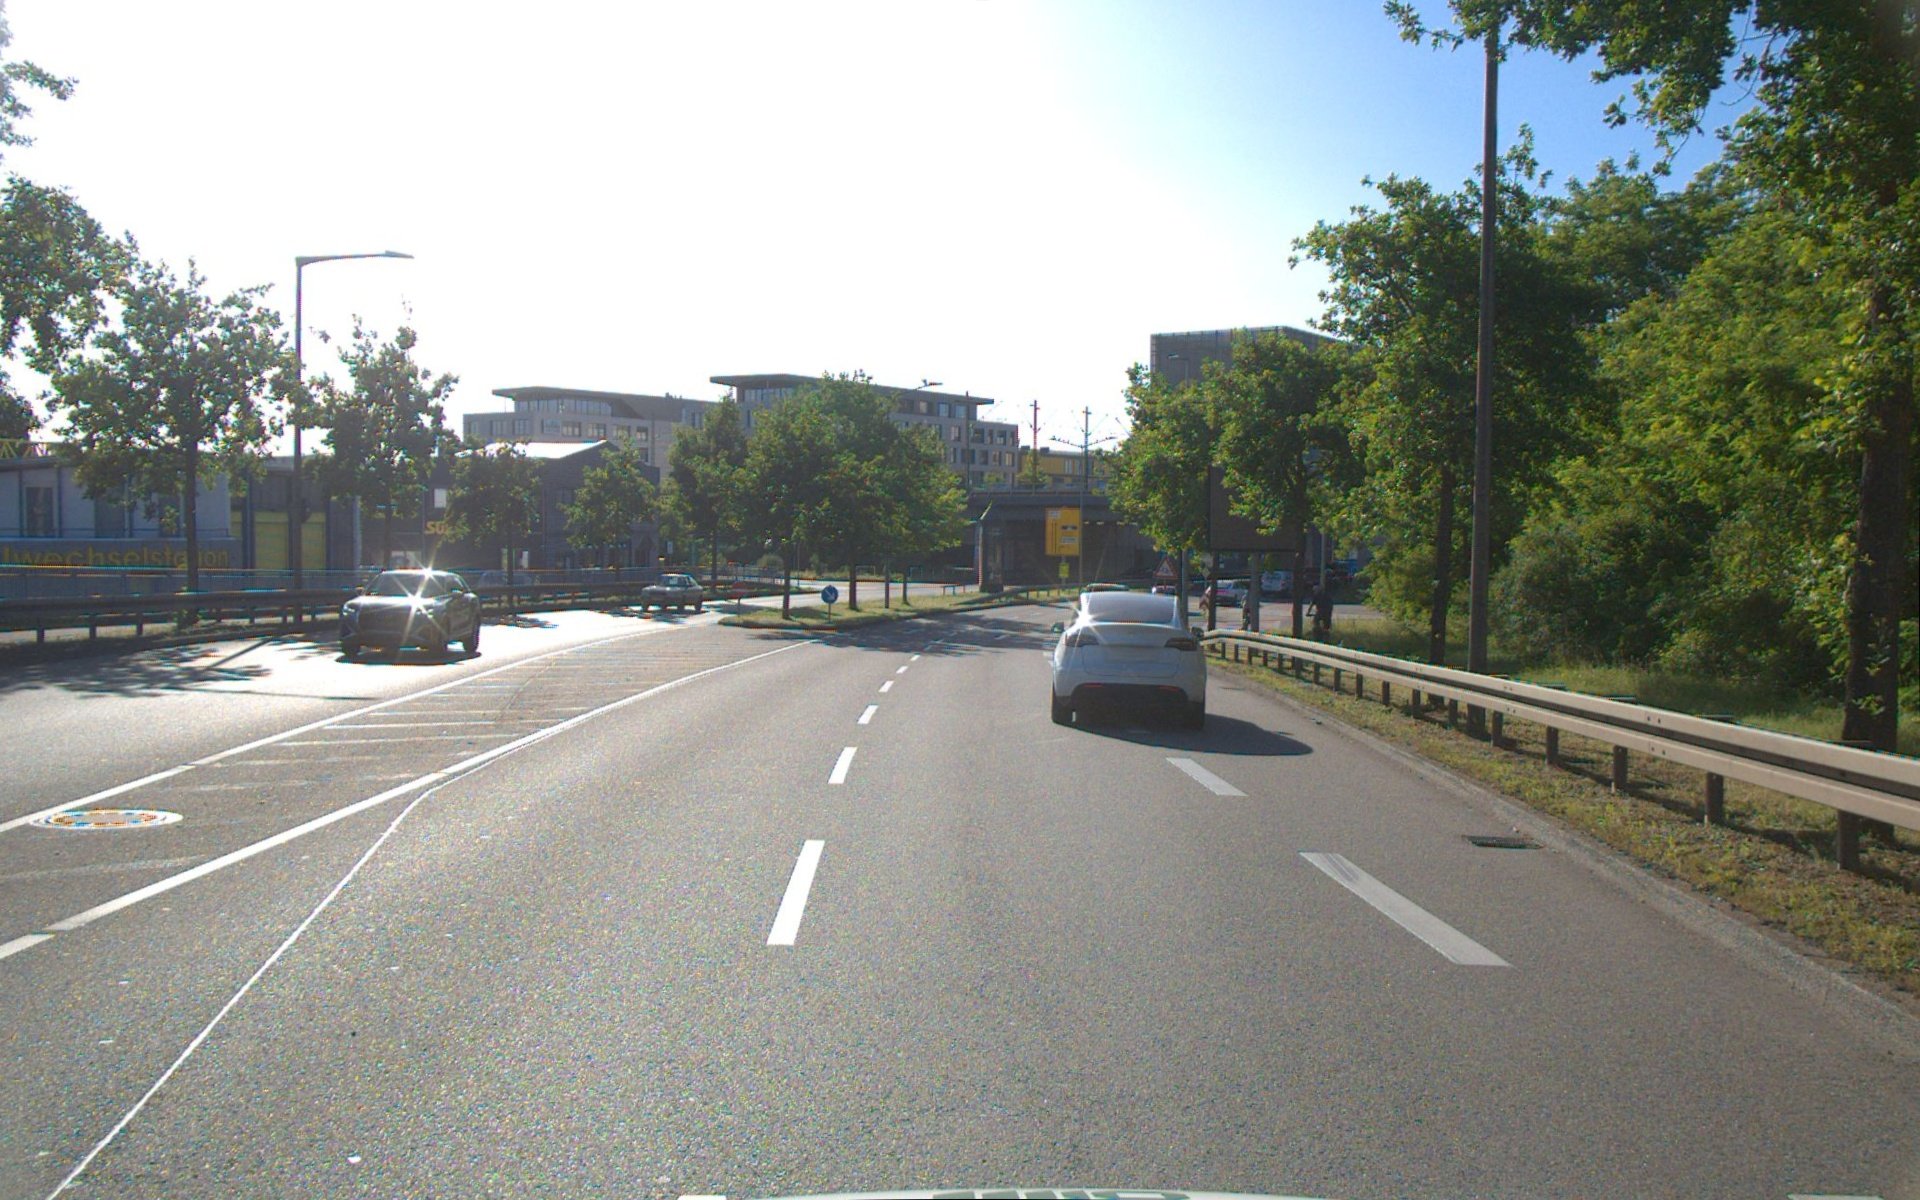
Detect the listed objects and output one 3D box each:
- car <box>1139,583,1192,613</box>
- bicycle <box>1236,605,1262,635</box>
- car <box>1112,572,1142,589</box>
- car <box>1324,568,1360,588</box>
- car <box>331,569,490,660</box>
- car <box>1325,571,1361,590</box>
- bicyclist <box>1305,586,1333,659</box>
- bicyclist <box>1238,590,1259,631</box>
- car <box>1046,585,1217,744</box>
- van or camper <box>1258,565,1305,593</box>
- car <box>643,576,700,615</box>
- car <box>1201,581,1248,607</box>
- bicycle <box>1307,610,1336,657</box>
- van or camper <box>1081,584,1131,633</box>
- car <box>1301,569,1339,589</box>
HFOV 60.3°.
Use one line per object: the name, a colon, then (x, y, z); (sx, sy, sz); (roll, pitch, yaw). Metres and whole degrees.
car: (11.094, -0.122, 89.212); (1.574, 1.459, 3.673); (3, 3, 29)
bicycle: (11.725, 0.803, 67.082); (0.727, 1.131, 2.453); (-1, 1, 17)
car: (14.347, -1.674, 141.740); (1.762, 1.333, 4.619); (2, 1, 16)
car: (31.839, -1.839, 137.844); (1.678, 1.548, 3.731); (3, 3, 34)
car: (-10.111, 0.231, 30.764); (1.727, 1.515, 4.274); (2, 0, -4)
car: (31.945, -1.631, 137.871); (1.678, 1.548, 3.731); (3, 3, 34)
bicyclist: (9.118, 0.565, 42.007); (0.661, 1.807, 0.949); (-1, 1, 12)
bicyclist: (11.691, 0.433, 67.053); (0.730, 1.647, 0.913); (-1, 1, 17)
car: (2.169, 0.725, 21.367); (1.874, 1.669, 4.413); (4, 1, 5)
van or camper: (22.490, -1.499, 115.579); (1.792, 1.822, 4.537); (3, 3, 29)
car: (-11.483, -0.206, 66.017); (1.695, 1.409, 4.493); (2, 1, -4)
car: (16.348, -0.405, 102.188); (1.728, 1.501, 4.286); (2, 2, 25)
bicycle: (9.230, 0.836, 42.251); (0.680, 1.114, 2.120); (-1, 1, 12)
van or camper: (6.093, 0.330, 69.204); (1.917, 1.916, 4.883); (2, 1, 5)
car: (28.719, -1.698, 131.974); (1.678, 1.548, 3.731); (3, 3, 34)
